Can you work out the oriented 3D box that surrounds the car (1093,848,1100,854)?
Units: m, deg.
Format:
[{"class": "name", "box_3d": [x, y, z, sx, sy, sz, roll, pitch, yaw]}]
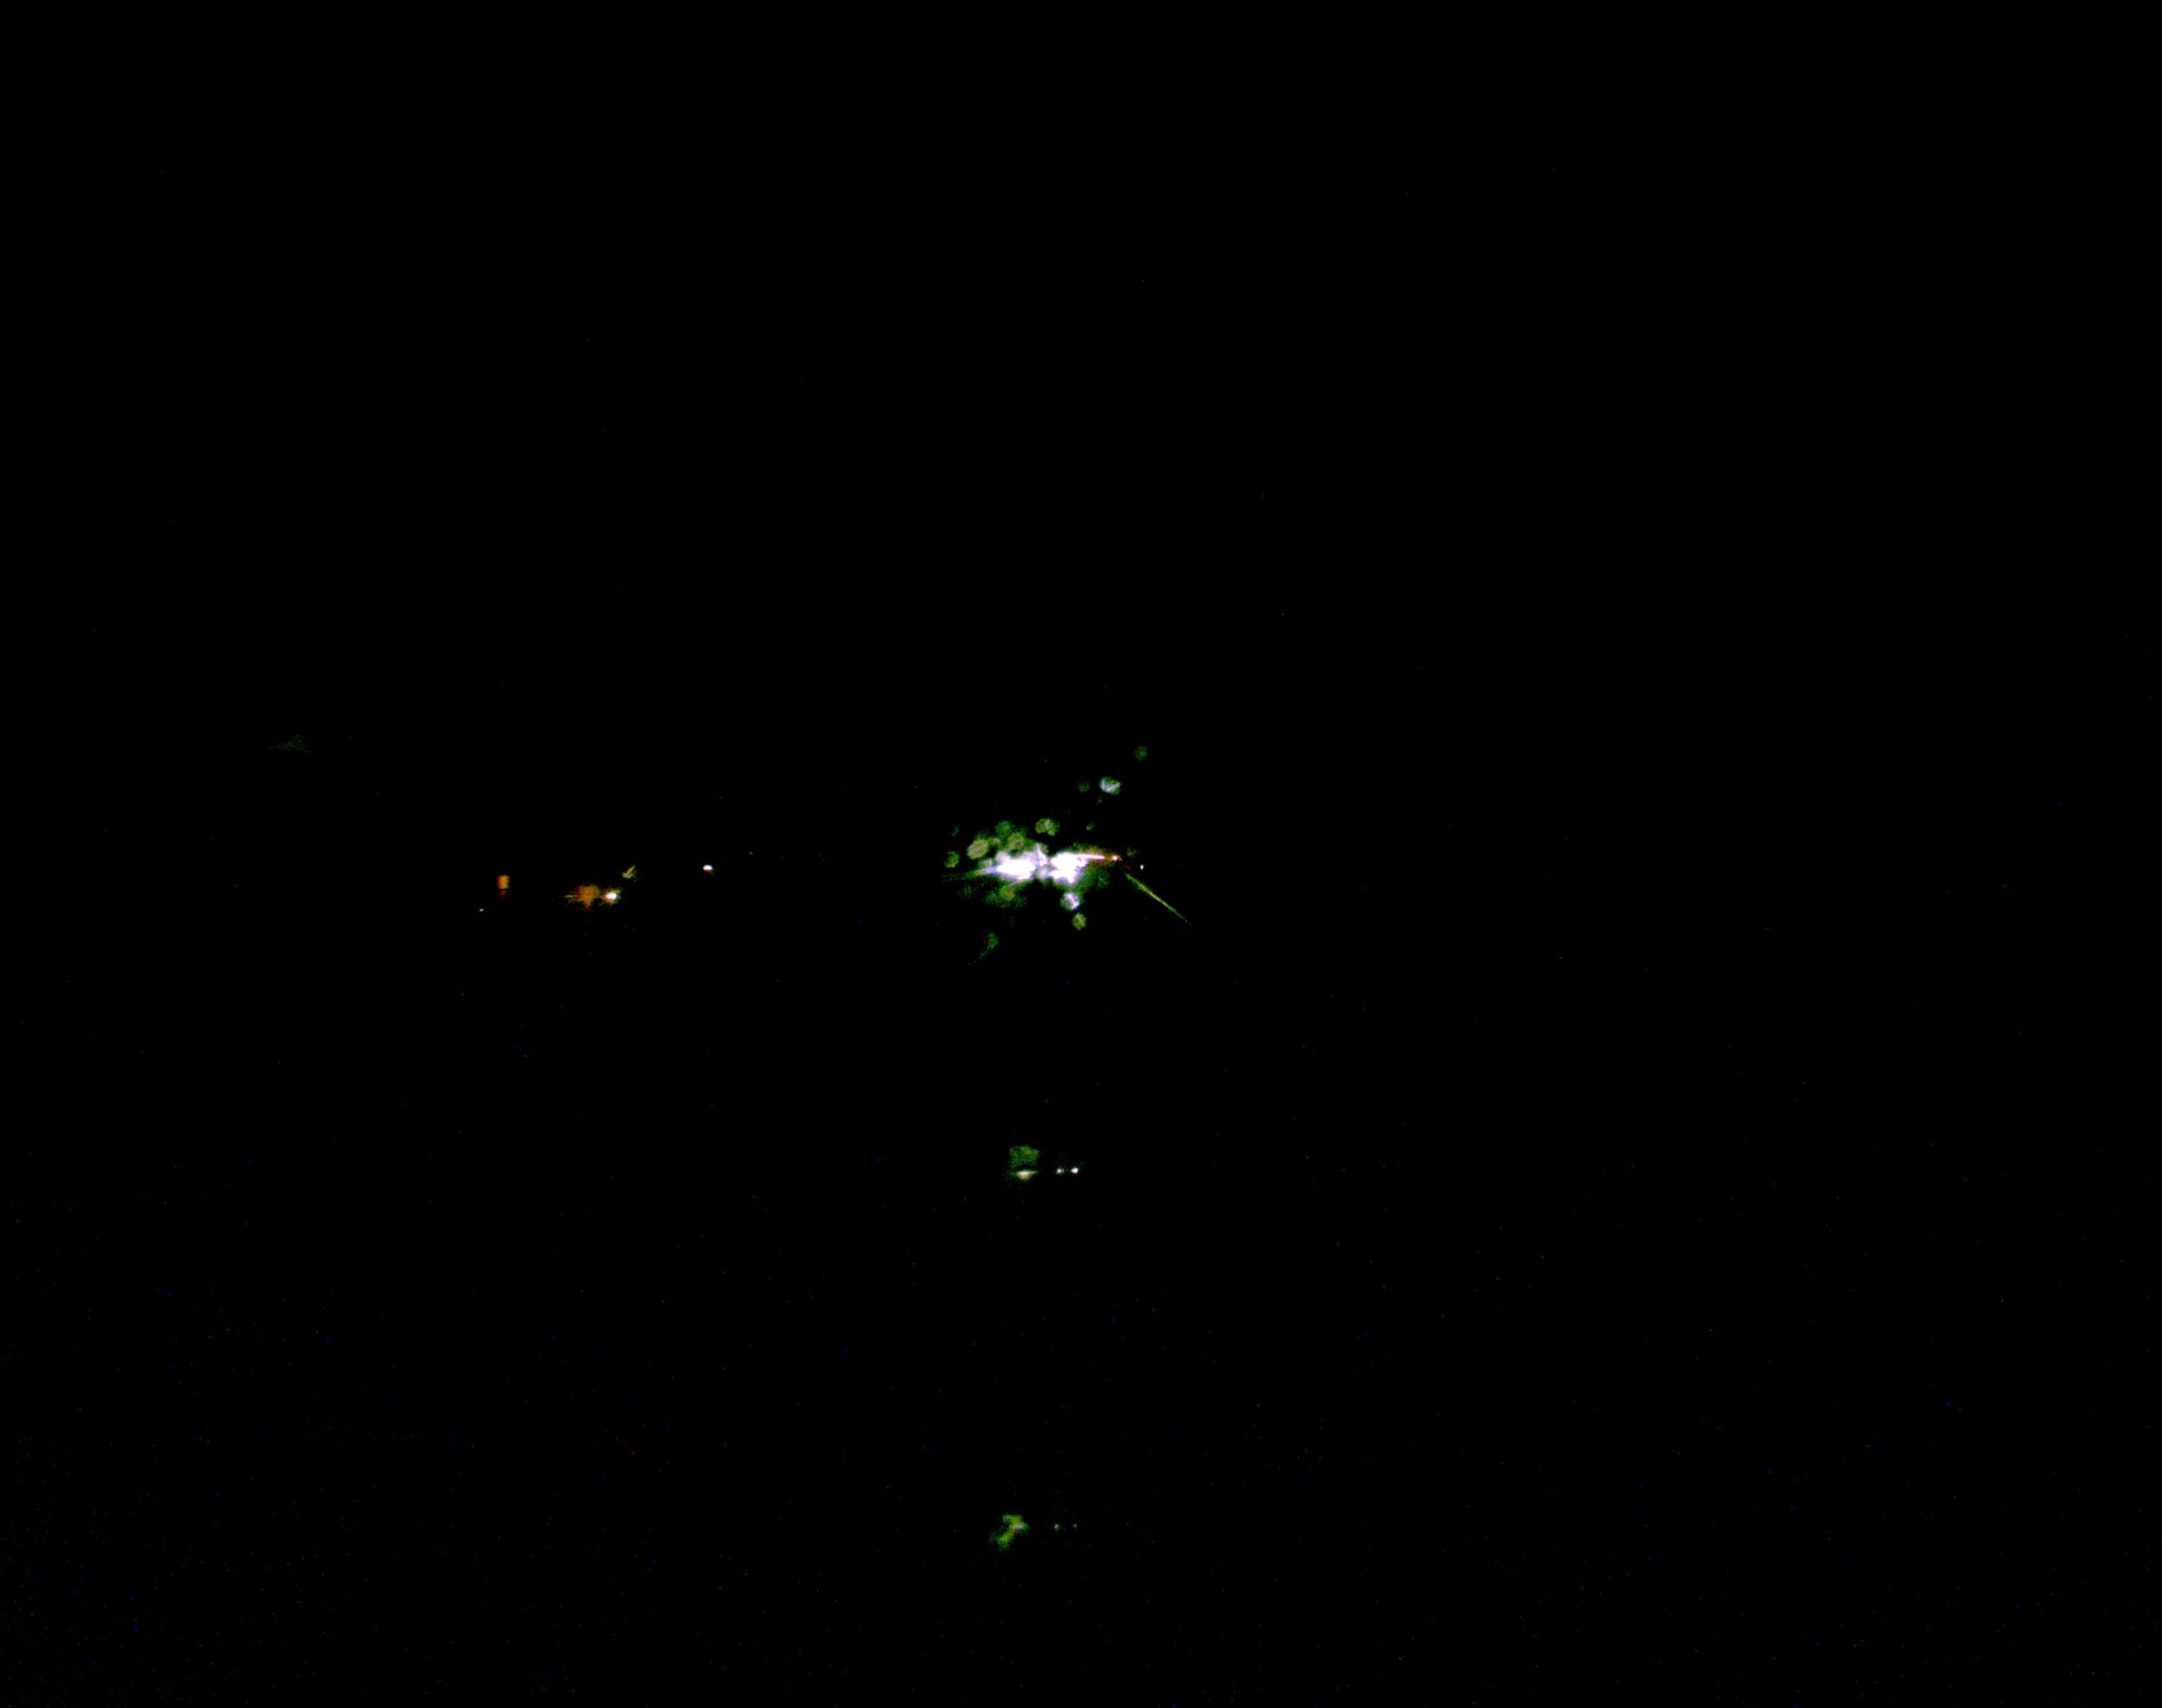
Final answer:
[{"class": "car", "box_3d": [4.316, -0.781, 227.444, 1.986, 1.666, 4.001, -1, 0, 1]}]

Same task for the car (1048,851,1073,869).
[{"class": "car", "box_3d": [-1.836, 0.543, 75.660, 2.090, 1.639, 4.456, -1, 0, 1]}]
